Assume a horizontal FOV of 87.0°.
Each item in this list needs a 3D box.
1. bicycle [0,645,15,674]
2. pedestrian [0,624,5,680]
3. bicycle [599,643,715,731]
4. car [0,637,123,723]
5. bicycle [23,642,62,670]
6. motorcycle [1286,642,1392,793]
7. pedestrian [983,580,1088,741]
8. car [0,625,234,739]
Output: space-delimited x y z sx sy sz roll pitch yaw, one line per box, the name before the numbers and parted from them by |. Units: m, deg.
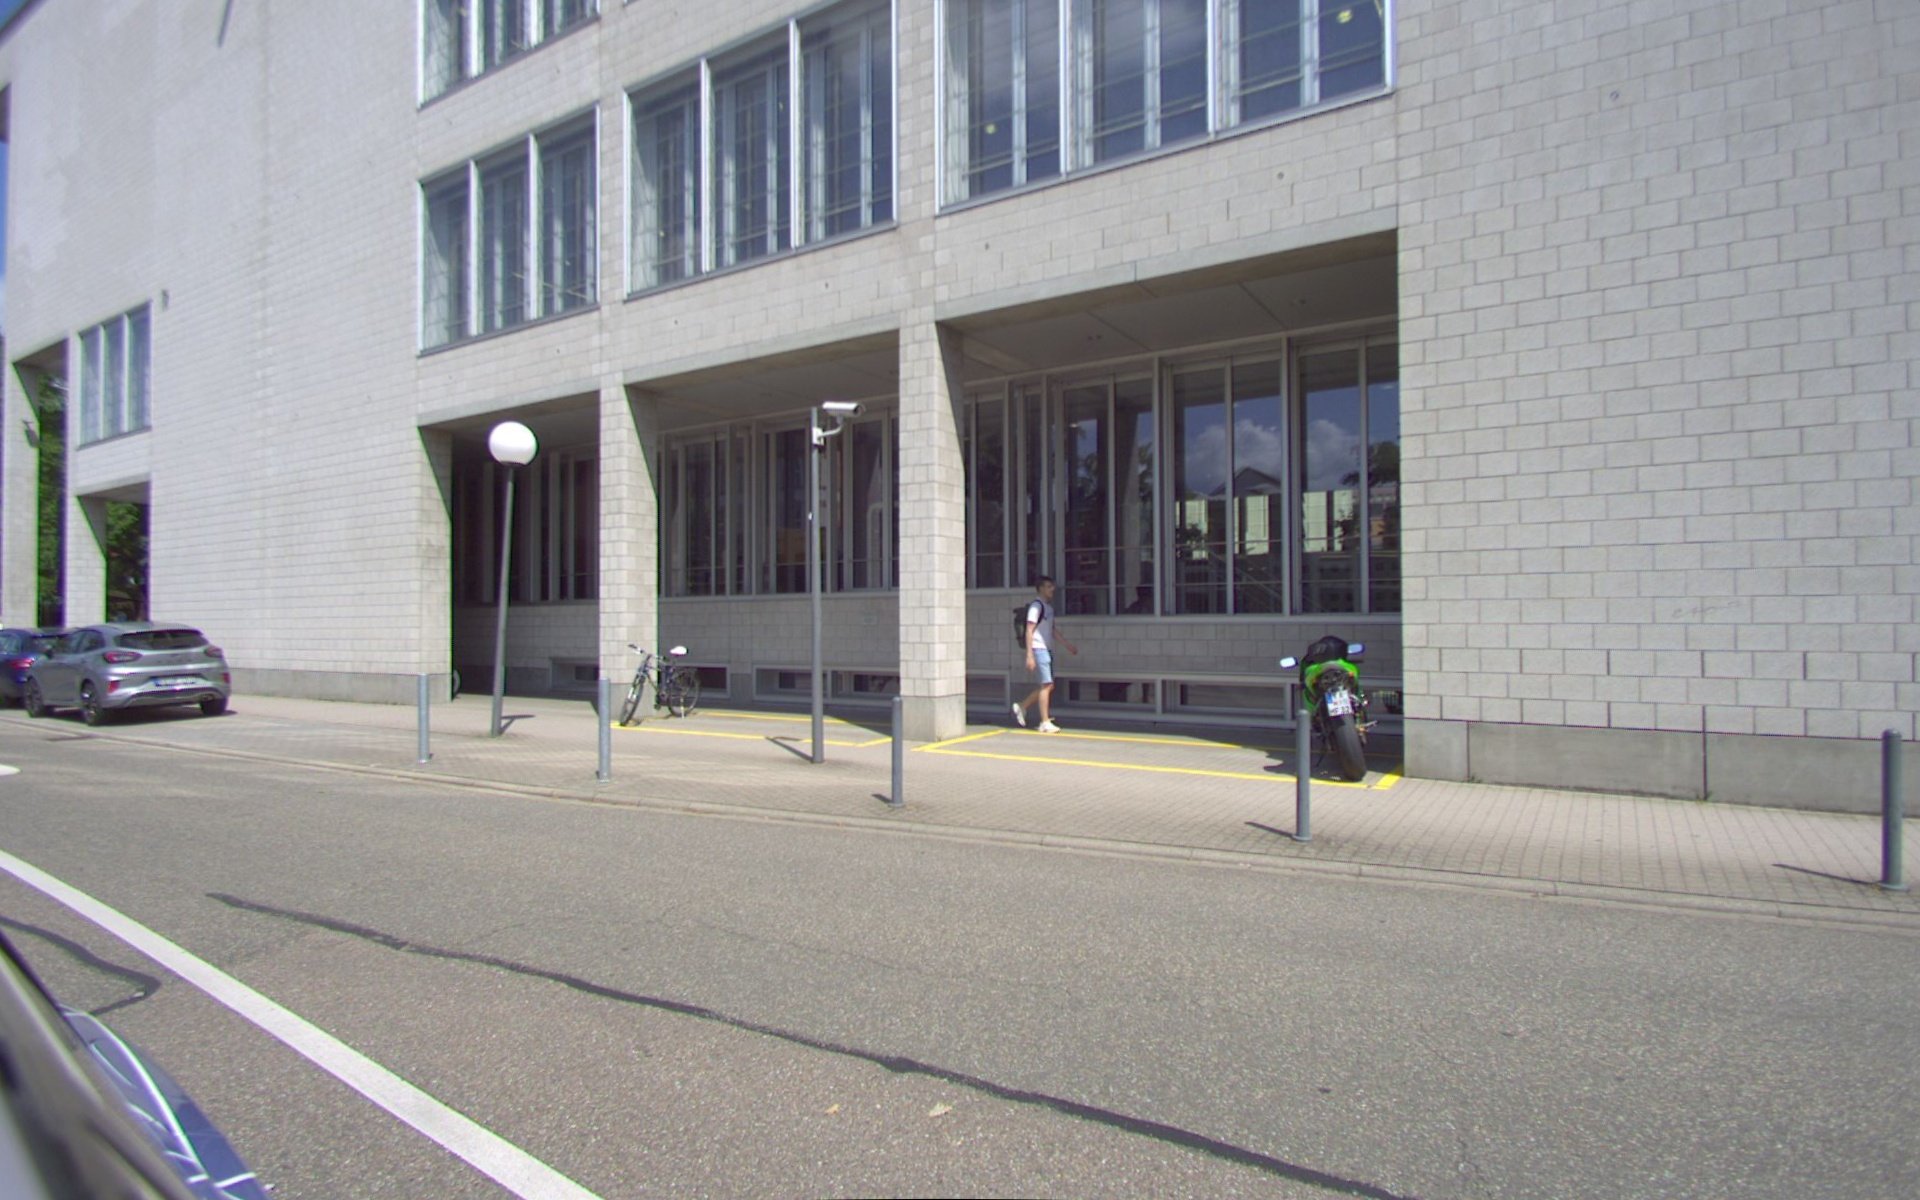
bicycle | -37.418 2.298 39.245 2.117 1.066 0.616 -1 -1 32
pedestrian | -31.267 1.677 32.401 1.077 1.794 0.747 -2 -1 32
bicycle | -4.206 1.180 14.166 0.605 1.095 1.629 -1 -1 27
car | -17.972 1.455 19.382 4.650 1.434 1.712 -2 -1 33
bicycle | -36.806 2.240 40.578 2.117 1.066 0.616 -1 -1 32
motorcycle | 3.417 0.964 9.068 0.770 1.146 2.156 -1 -2 22
pedestrian | 0.920 0.714 12.283 1.011 1.852 0.771 -2 -1 32
car | -13.795 1.228 16.482 4.392 1.546 1.713 -1 1 33
